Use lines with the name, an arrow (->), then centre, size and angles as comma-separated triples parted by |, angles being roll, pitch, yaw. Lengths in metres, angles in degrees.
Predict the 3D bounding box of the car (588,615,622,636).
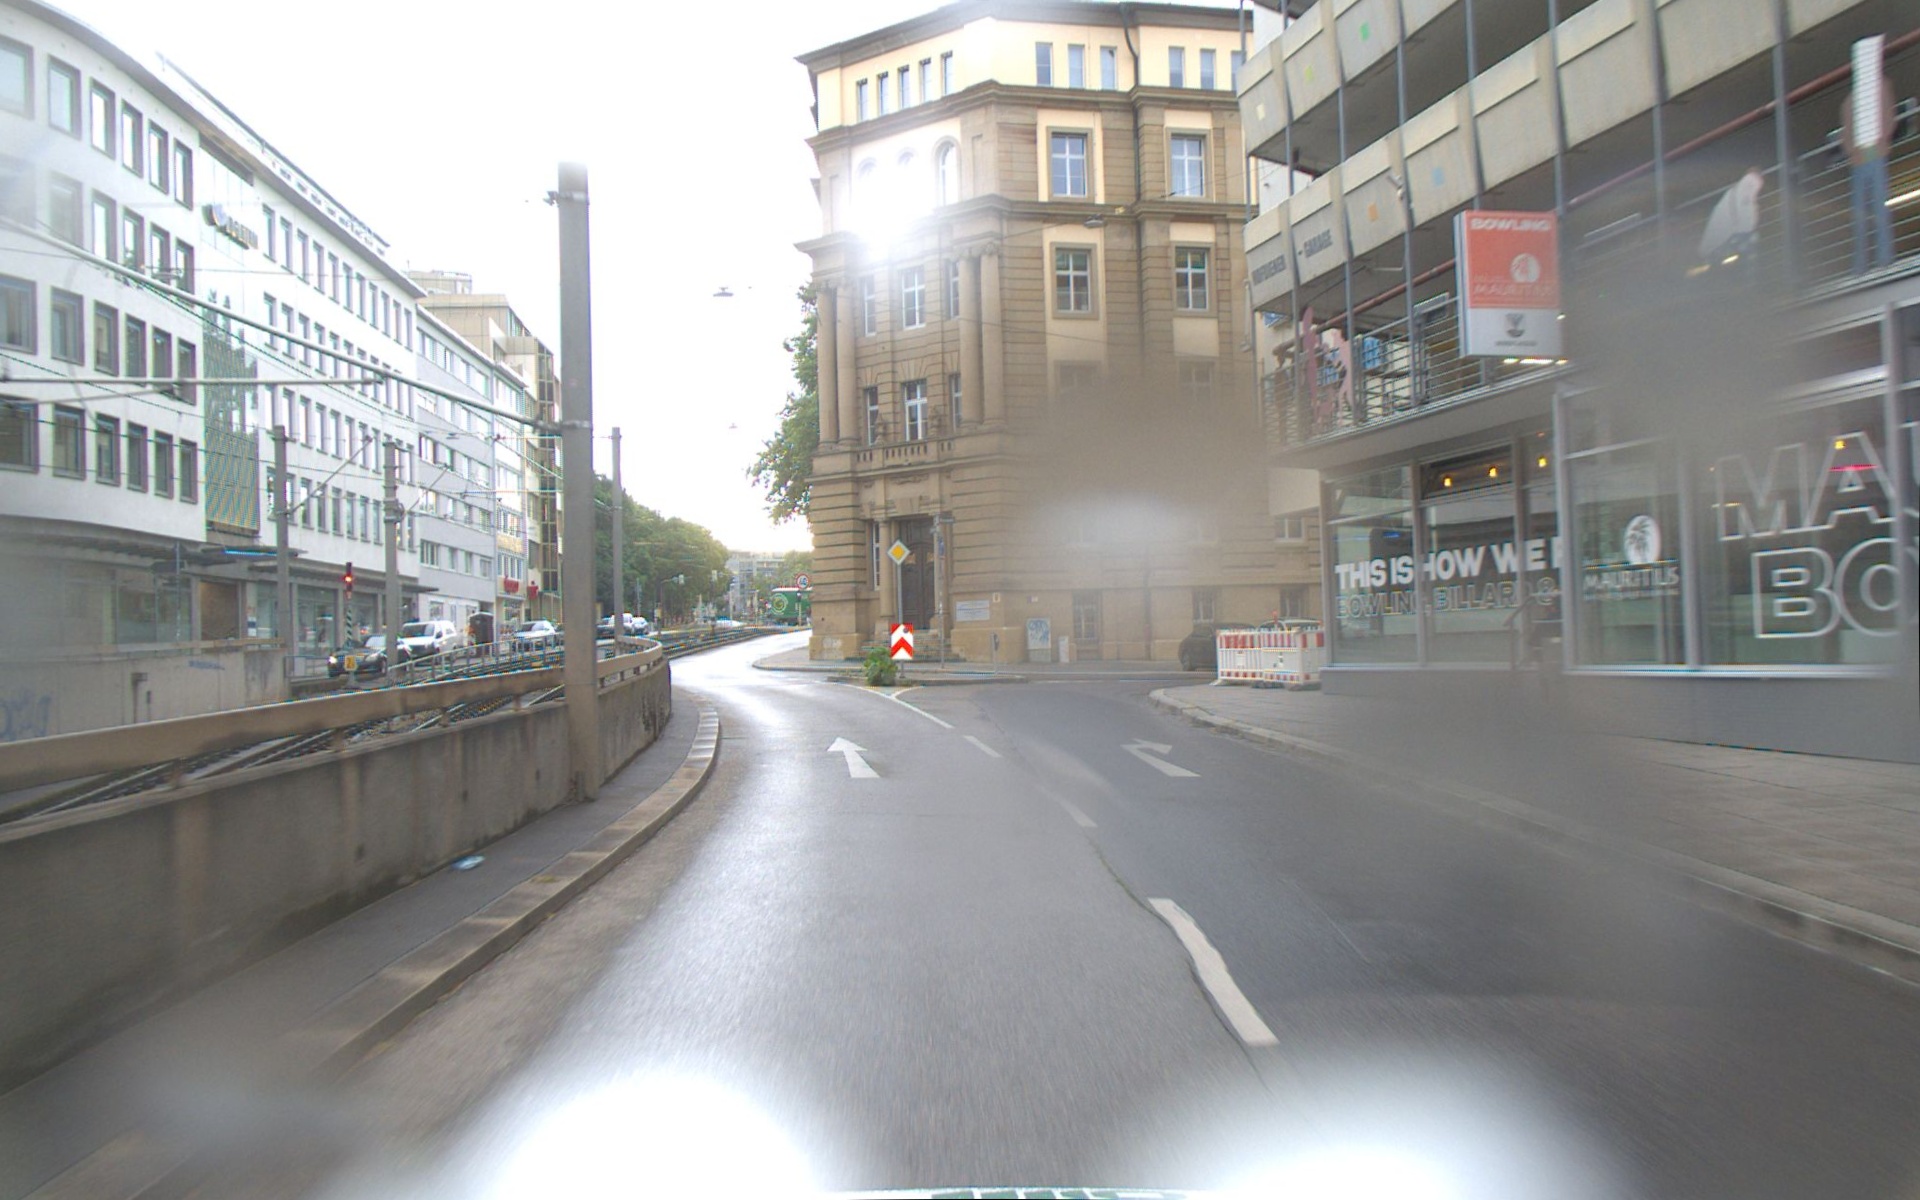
car -> -26.627, 1.916, 124.082 | 1.955, 1.482, 4.306 | 0, -1, -5

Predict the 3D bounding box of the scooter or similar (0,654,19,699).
scooter or similar -> -26.297, 2.093, 45.050 | 0.534, 1.199, 1.188 | -1, -1, 10

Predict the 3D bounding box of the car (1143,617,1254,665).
car -> 7.344, 1.247, 51.440 | 1.704, 1.391, 4.985 | 0, -1, -13

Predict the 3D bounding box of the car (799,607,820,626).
car -> -13.901, 1.541, 152.983 | 1.954, 1.691, 3.996 | 0, -1, -5

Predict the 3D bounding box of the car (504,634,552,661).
car -> -24.849, 2.734, 95.321 | 1.955, 1.482, 4.306 | 0, -1, -5

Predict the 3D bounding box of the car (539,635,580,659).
car -> -26.019, 3.031, 107.580 | 1.955, 1.482, 4.306 | 0, -1, -5

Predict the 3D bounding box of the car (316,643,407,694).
car -> -19.923, 2.256, 55.192 | 1.955, 1.554, 3.659 | 0, -1, -5

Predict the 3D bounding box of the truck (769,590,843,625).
truck -> -16.086, 0.783, 172.309 | 7.749, 3.446, 1.997 | 1, -1, 27

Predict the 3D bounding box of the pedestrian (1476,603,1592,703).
pedestrian -> 6.797, 0.619, 19.624 | 0.740, 1.143, 1.242 | 0, -1, -14

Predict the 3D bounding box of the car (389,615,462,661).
car -> -23.431, 1.648, 72.662 | 1.955, 1.916, 4.921 | 0, -1, -5
